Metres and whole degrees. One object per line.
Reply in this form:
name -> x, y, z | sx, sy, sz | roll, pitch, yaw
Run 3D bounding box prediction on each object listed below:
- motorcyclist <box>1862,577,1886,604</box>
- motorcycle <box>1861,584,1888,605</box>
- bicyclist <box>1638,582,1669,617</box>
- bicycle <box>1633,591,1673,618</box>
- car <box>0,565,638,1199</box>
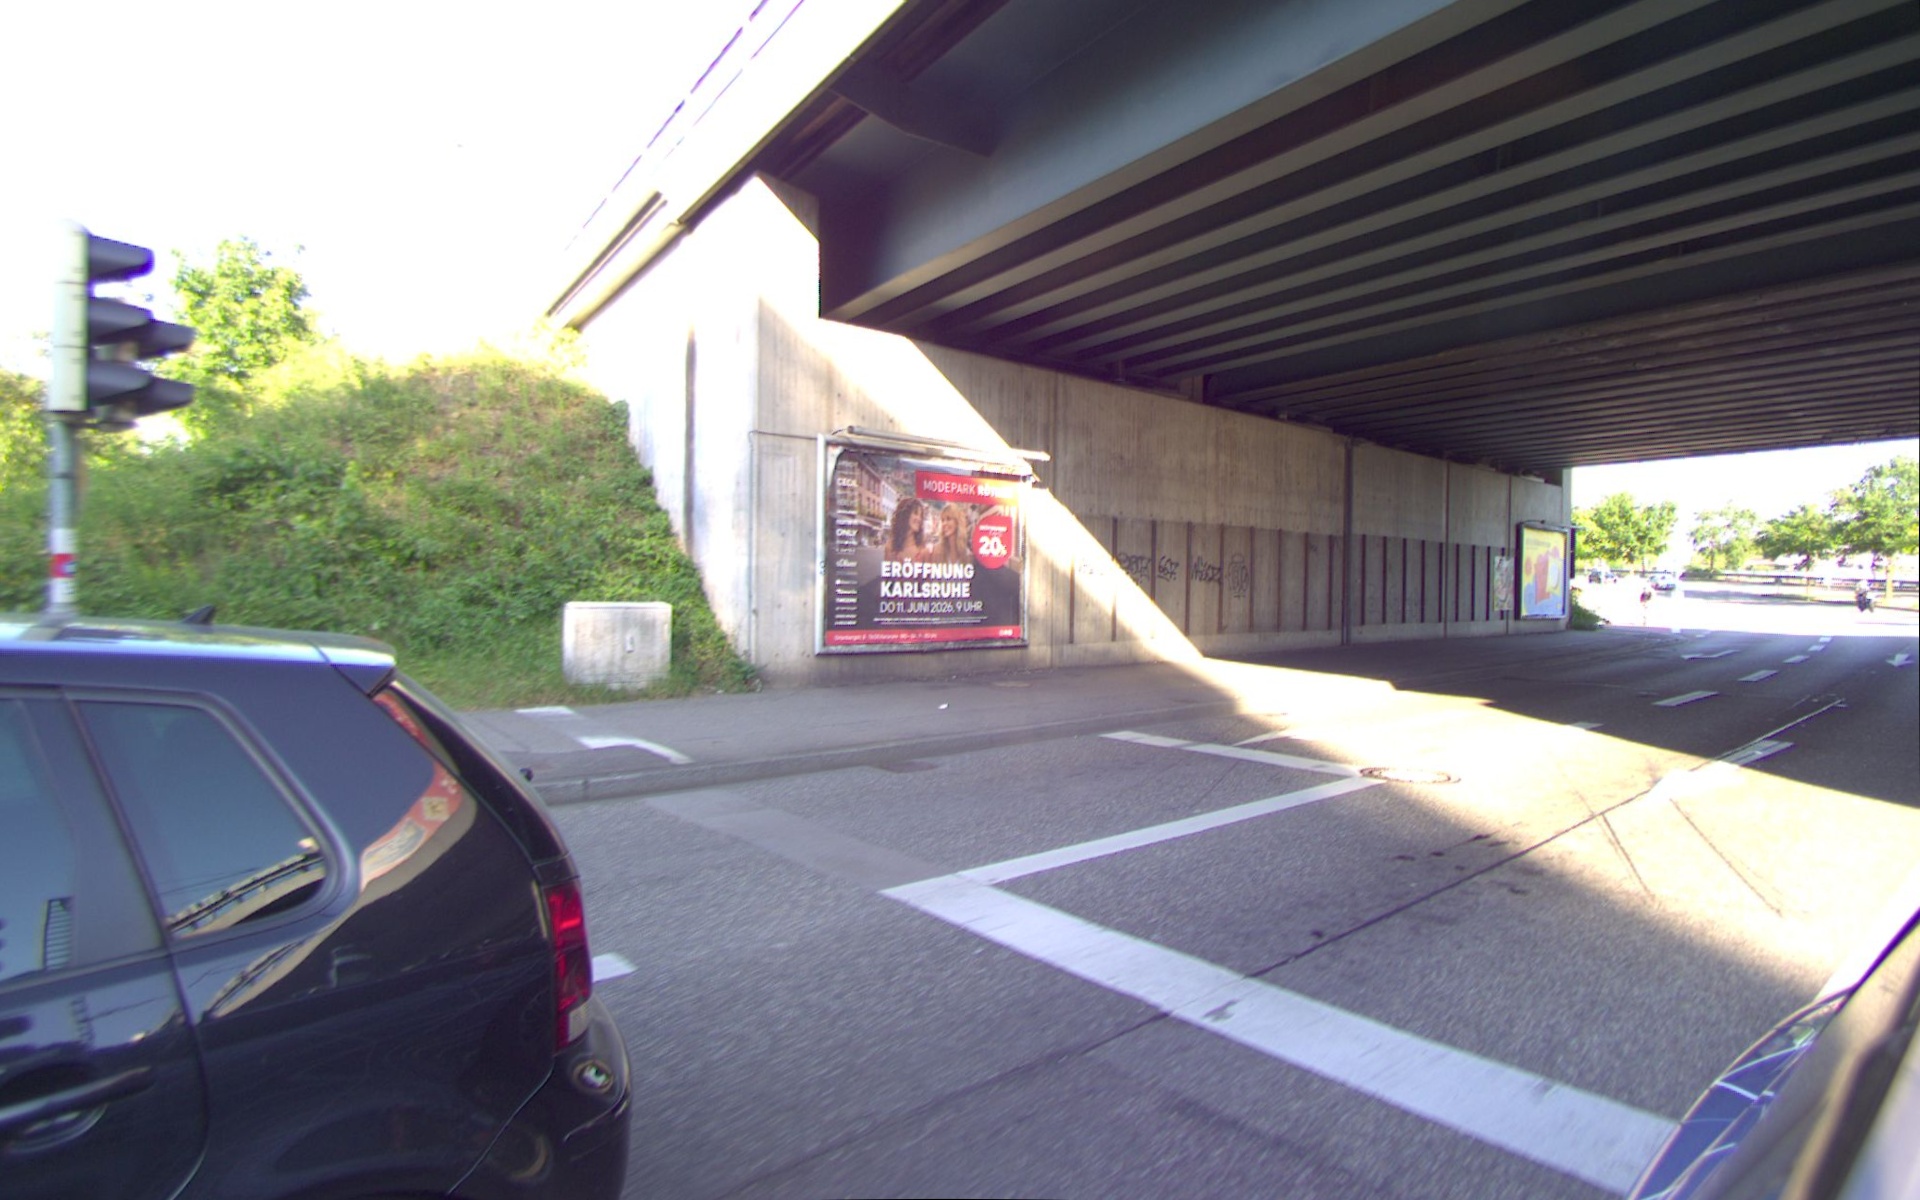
motorcyclist -> 50.136, -0.507, 55.504 | 0.863, 1.460, 0.839 | -1, 0, -40
motorcycle -> 50.233, -0.309, 55.569 | 2.312, 1.059, 0.810 | -1, 0, -40
bicyclist -> 28.953, -0.035, 42.272 | 0.833, 1.439, 1.106 | -1, 0, 22
bicycle -> 29.049, 0.166, 42.456 | 0.773, 1.070, 2.479 | -1, 0, 21
car -> -2.429, 0.699, 1.127 | 3.618, 1.427, 1.620 | -1, 0, -40
